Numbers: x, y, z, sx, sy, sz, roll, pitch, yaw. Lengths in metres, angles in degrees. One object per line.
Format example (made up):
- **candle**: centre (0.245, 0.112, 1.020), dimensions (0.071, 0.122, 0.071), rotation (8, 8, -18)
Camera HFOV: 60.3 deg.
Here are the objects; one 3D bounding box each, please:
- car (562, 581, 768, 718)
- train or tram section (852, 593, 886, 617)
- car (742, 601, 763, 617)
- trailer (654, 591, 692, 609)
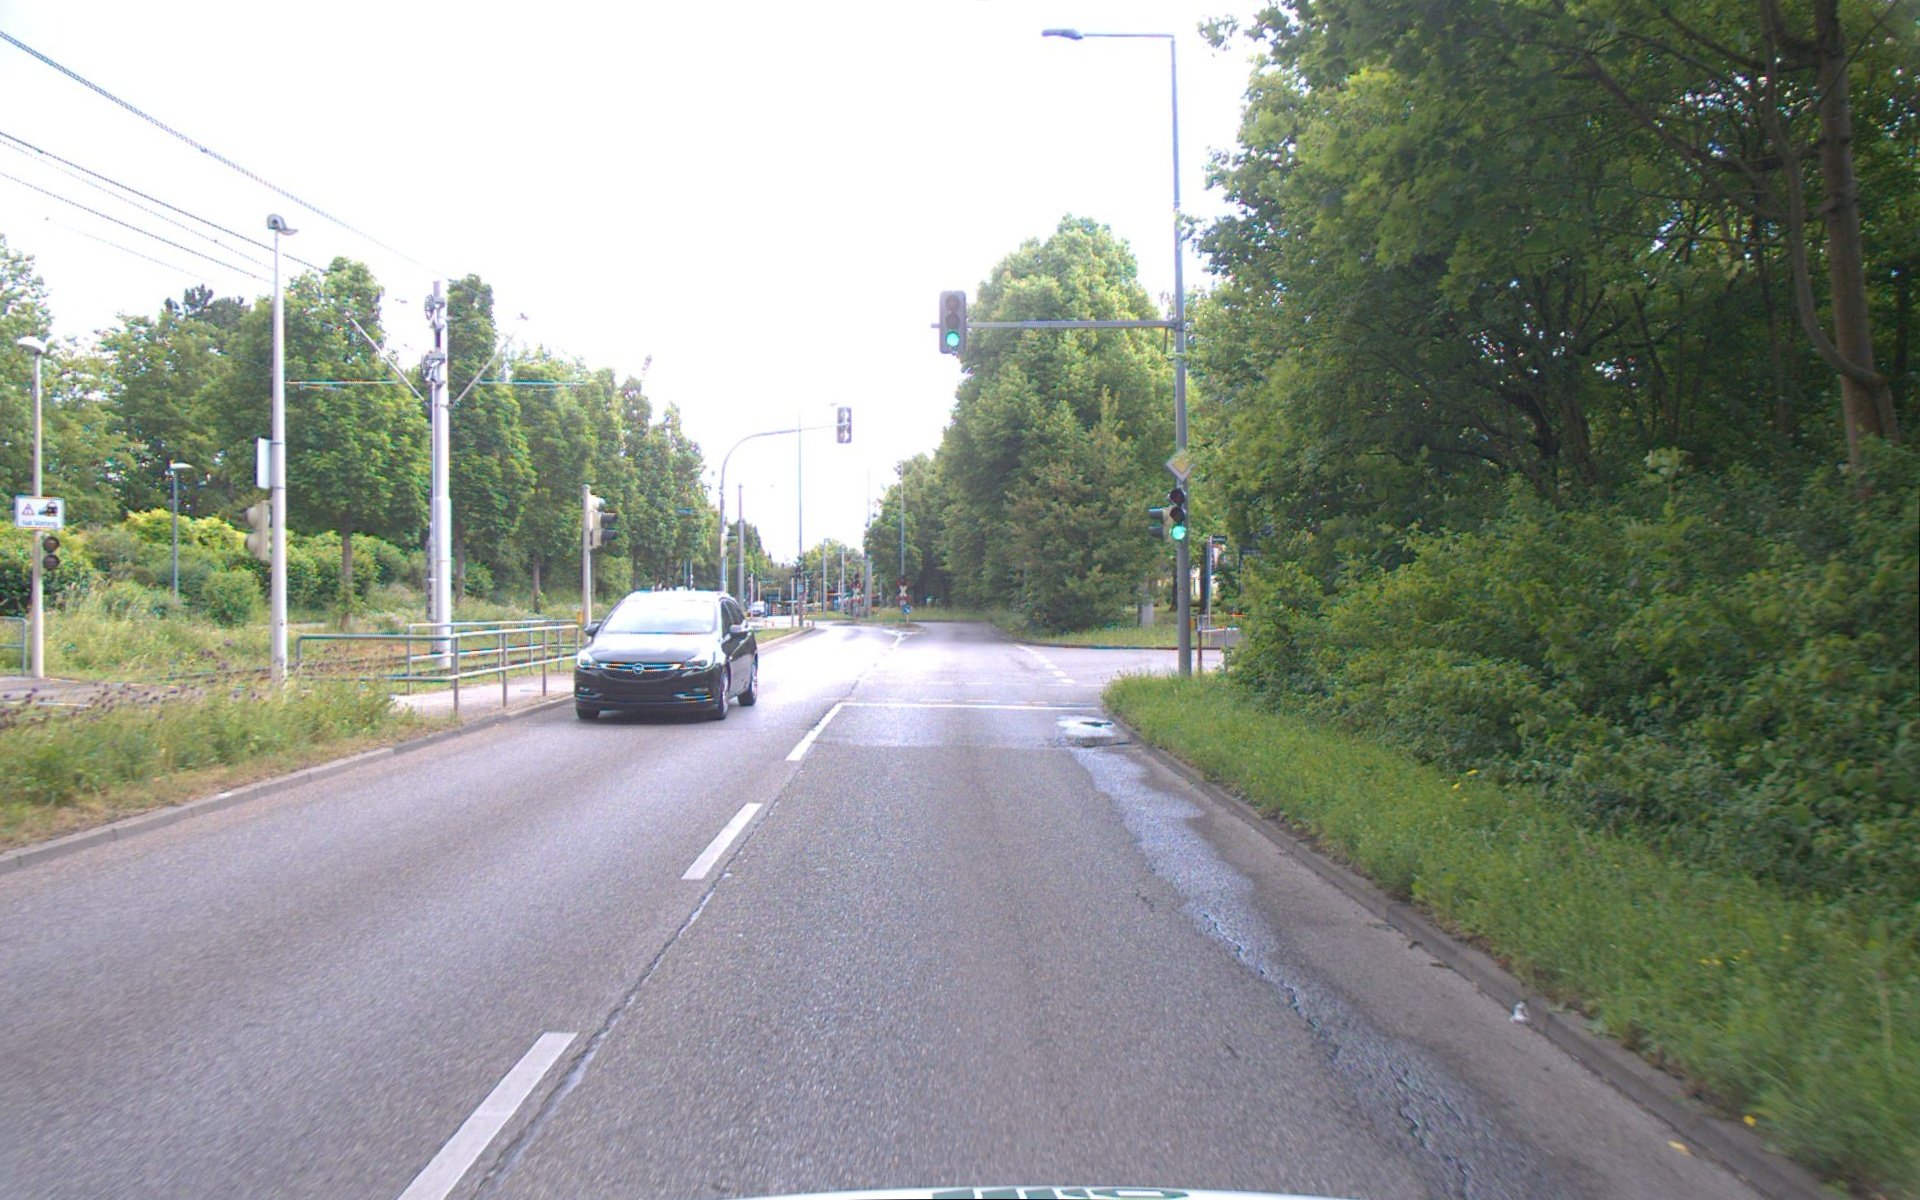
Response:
- **car**: centre (-3.525, 0.537, 20.503), dimensions (1.812, 1.496, 4.255), rotation (1, 0, -1)
- **train or tram section**: centre (-14.399, 0.876, 258.961), dimensions (2.950, 3.369, 34.655), rotation (1, -1, -7)
- **car**: centre (-21.154, 0.949, 168.604), dimensions (1.830, 1.547, 4.236), rotation (1, 0, -3)
- **trailer**: centre (-31.856, -0.008, 183.656), dimensions (3.906, 2.049, 1.907), rotation (0, 0, -2)
